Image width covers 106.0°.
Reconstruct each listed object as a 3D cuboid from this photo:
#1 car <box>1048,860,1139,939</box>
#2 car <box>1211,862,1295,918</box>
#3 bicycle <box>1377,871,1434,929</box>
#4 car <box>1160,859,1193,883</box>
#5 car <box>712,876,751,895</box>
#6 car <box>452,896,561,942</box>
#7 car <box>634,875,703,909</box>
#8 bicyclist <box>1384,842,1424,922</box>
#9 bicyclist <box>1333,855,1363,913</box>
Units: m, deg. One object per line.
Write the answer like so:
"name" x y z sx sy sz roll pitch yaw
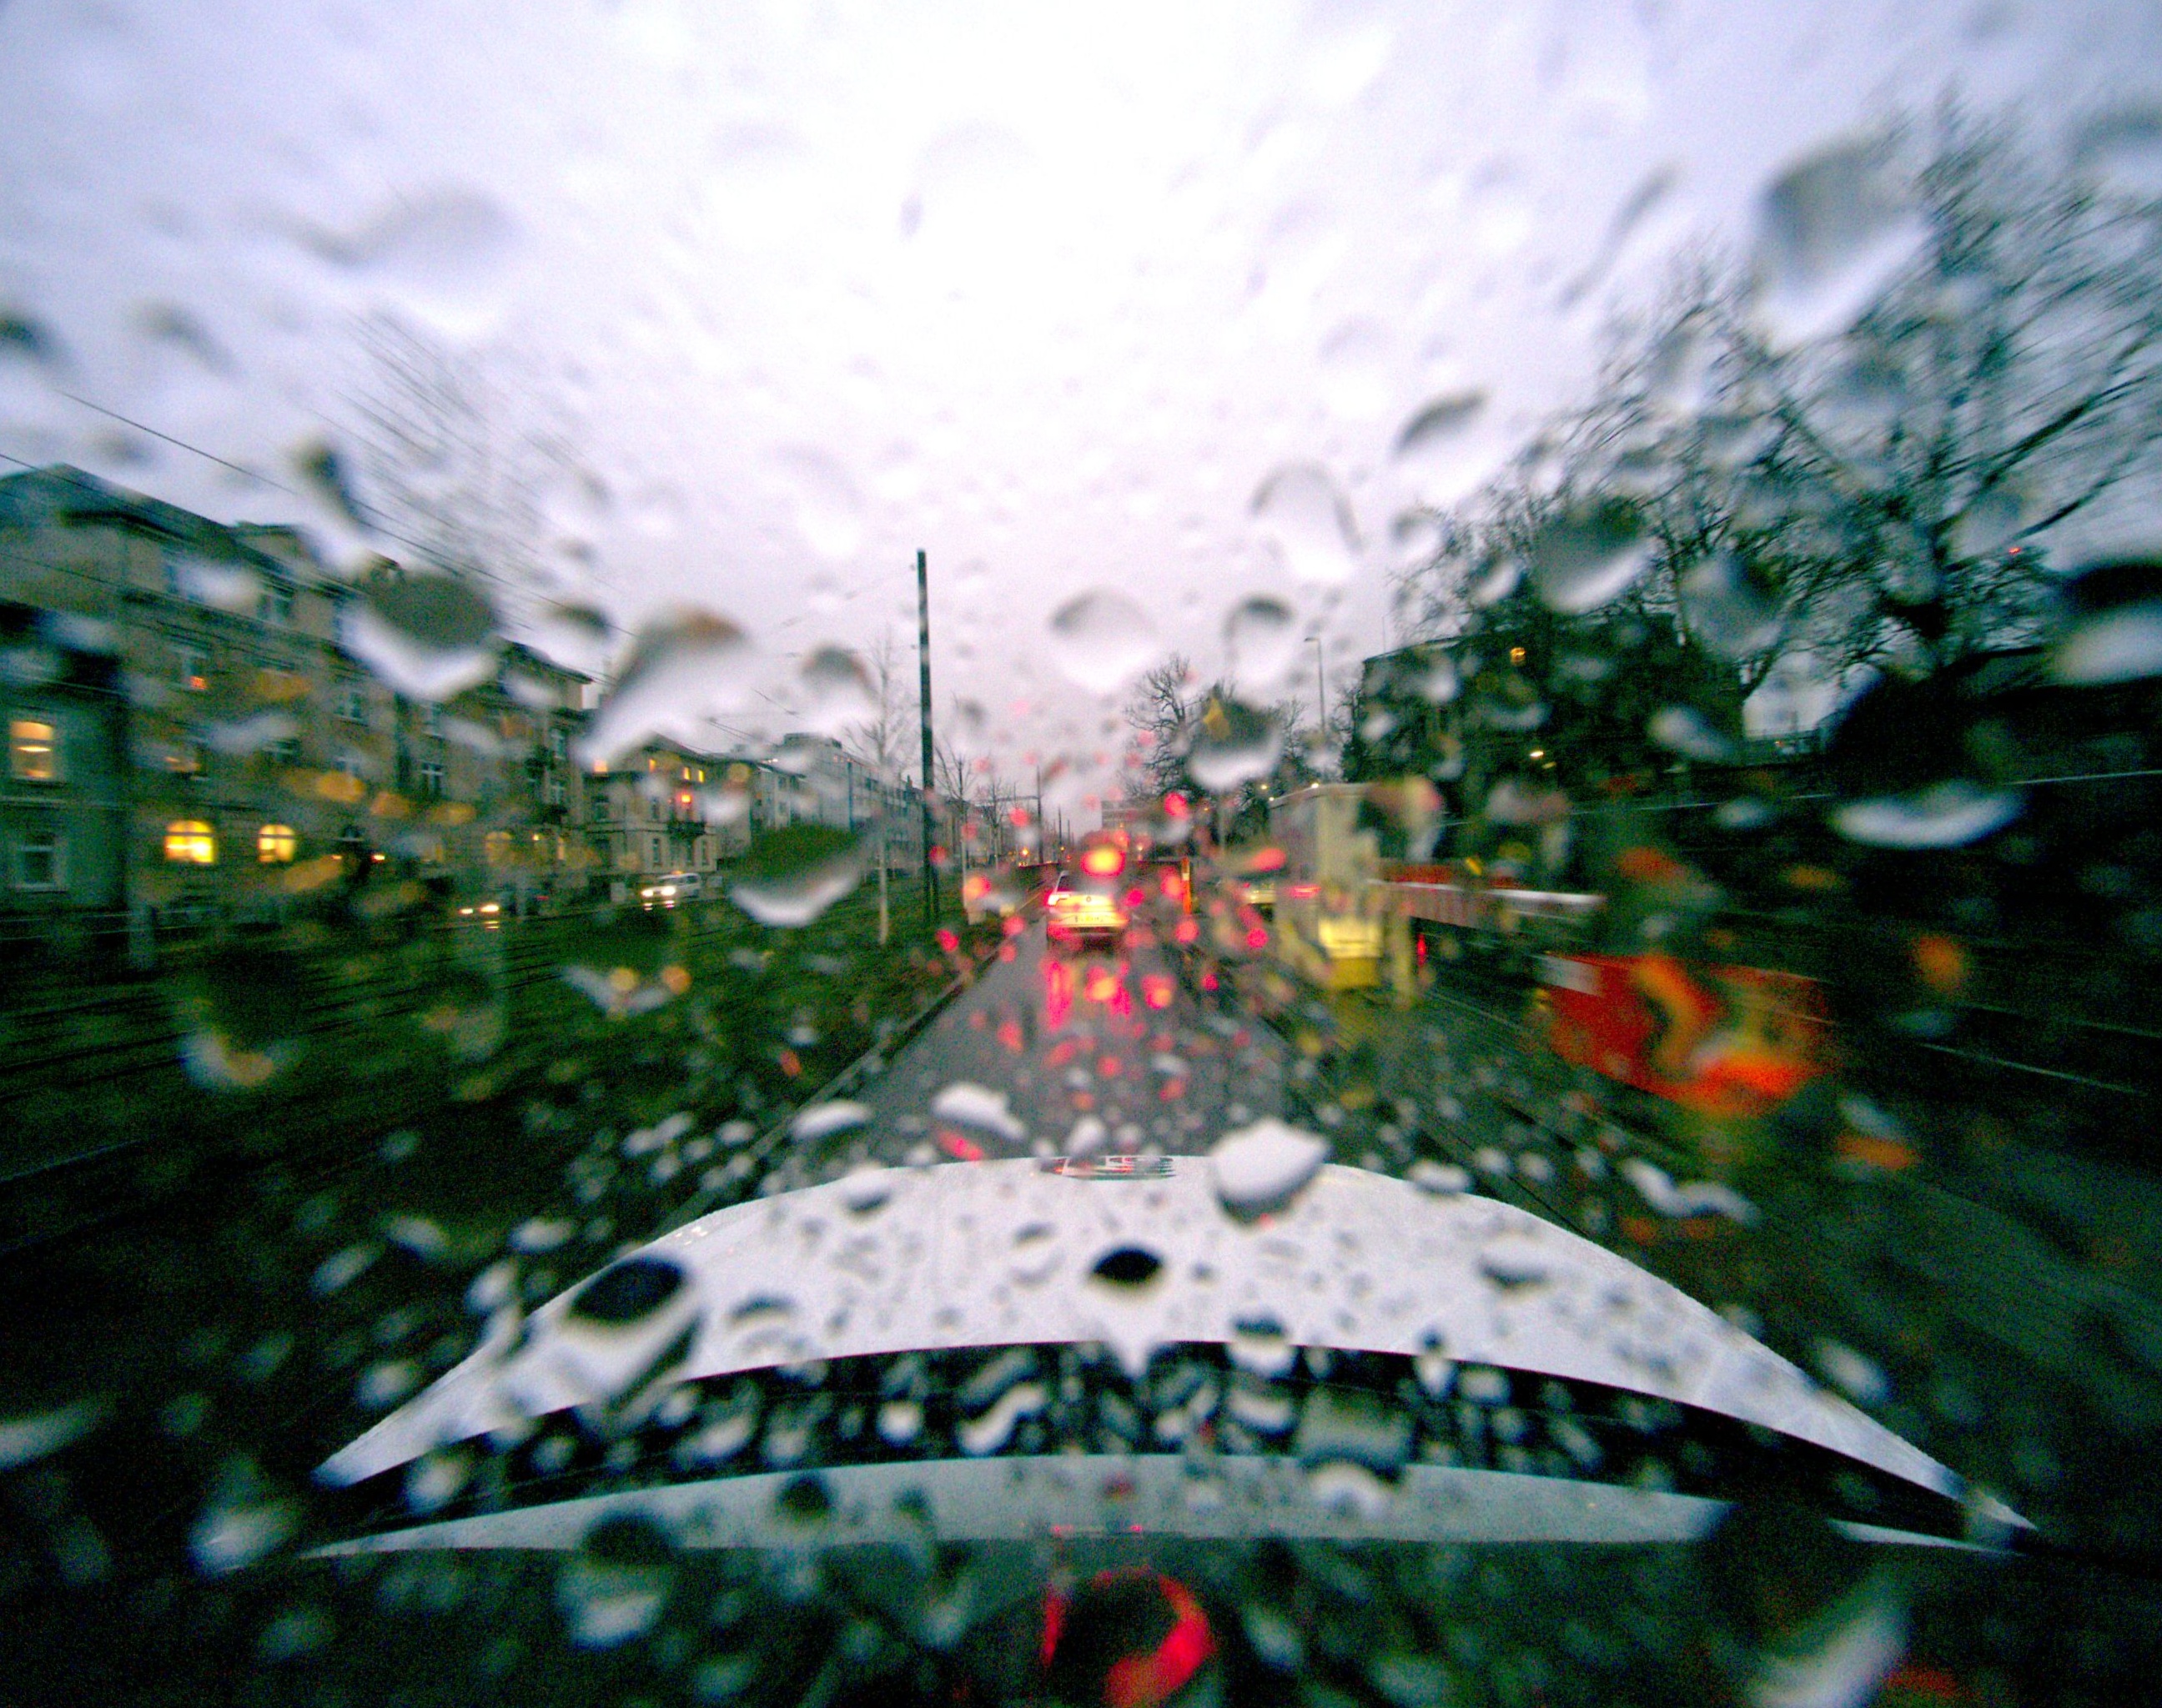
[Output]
"car" 0.318 0.887 17.354 1.715 1.479 4.002 0 -1 2
"car" 4.879 0.995 23.569 1.715 1.479 4.002 0 -1 2
"bicycle" 7.267 1.002 18.336 0.410 1.185 2.028 -2 0 -1
"car" 5.527 0.993 47.658 1.617 1.299 4.002 0 -1 2
"car" -31.183 2.792 72.852 1.801 1.436 3.925 -3 0 -1
"car" -25.794 2.874 36.774 1.988 1.692 4.109 -3 0 -1
"car" -26.885 2.420 53.275 1.988 1.933 4.909 -3 0 -1
"bicyclist" 7.318 0.624 18.491 0.498 1.767 0.837 -2 0 -1
"bicyclist" 7.512 0.821 22.945 0.498 1.591 0.837 -2 0 -1
